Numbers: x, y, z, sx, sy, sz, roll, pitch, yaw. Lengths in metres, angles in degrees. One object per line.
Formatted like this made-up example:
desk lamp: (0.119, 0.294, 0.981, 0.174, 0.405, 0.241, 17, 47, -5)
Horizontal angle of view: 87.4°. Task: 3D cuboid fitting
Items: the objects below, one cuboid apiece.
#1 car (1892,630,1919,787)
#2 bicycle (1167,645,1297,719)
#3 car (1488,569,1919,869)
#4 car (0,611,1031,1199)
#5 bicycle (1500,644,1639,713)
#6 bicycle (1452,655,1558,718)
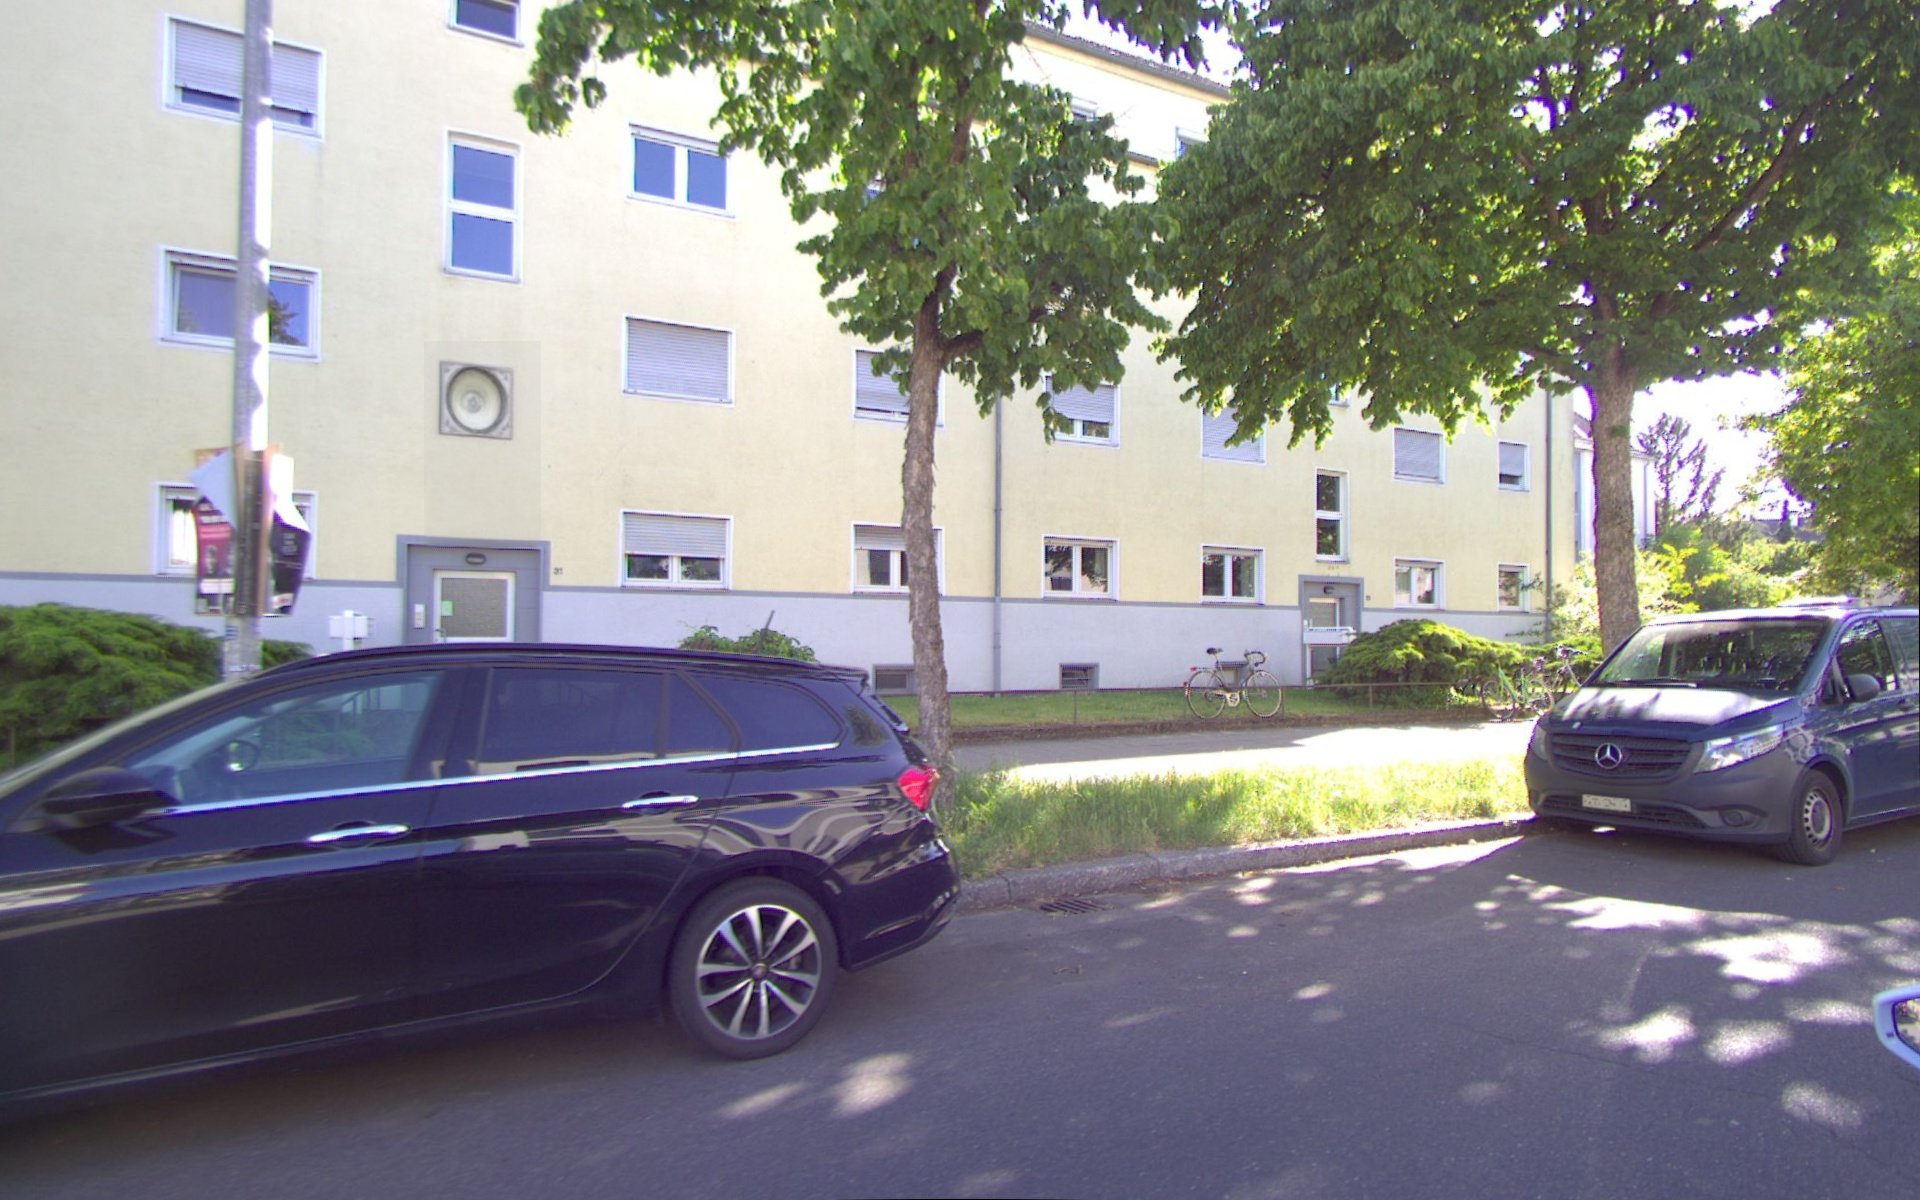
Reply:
car: (12.081, 1.145, 10.917, 4.178, 1.632, 1.606, 2, -3, -29)
bicycle: (3.949, 1.158, 14.526, 1.903, 1.004, 0.593, 1, -2, -27)
car: (6.970, 0.868, 8.435, 5.073, 1.929, 1.821, 1, -4, -26)
car: (-2.144, 0.886, 3.757, 4.717, 1.568, 1.503, 2, -4, -27)
bicycle: (11.475, 1.454, 18.984, 0.684, 1.224, 2.130, 2, -3, -36)
bicycle: (9.257, 1.448, 17.048, 1.903, 1.004, 0.593, 1, -2, -27)
